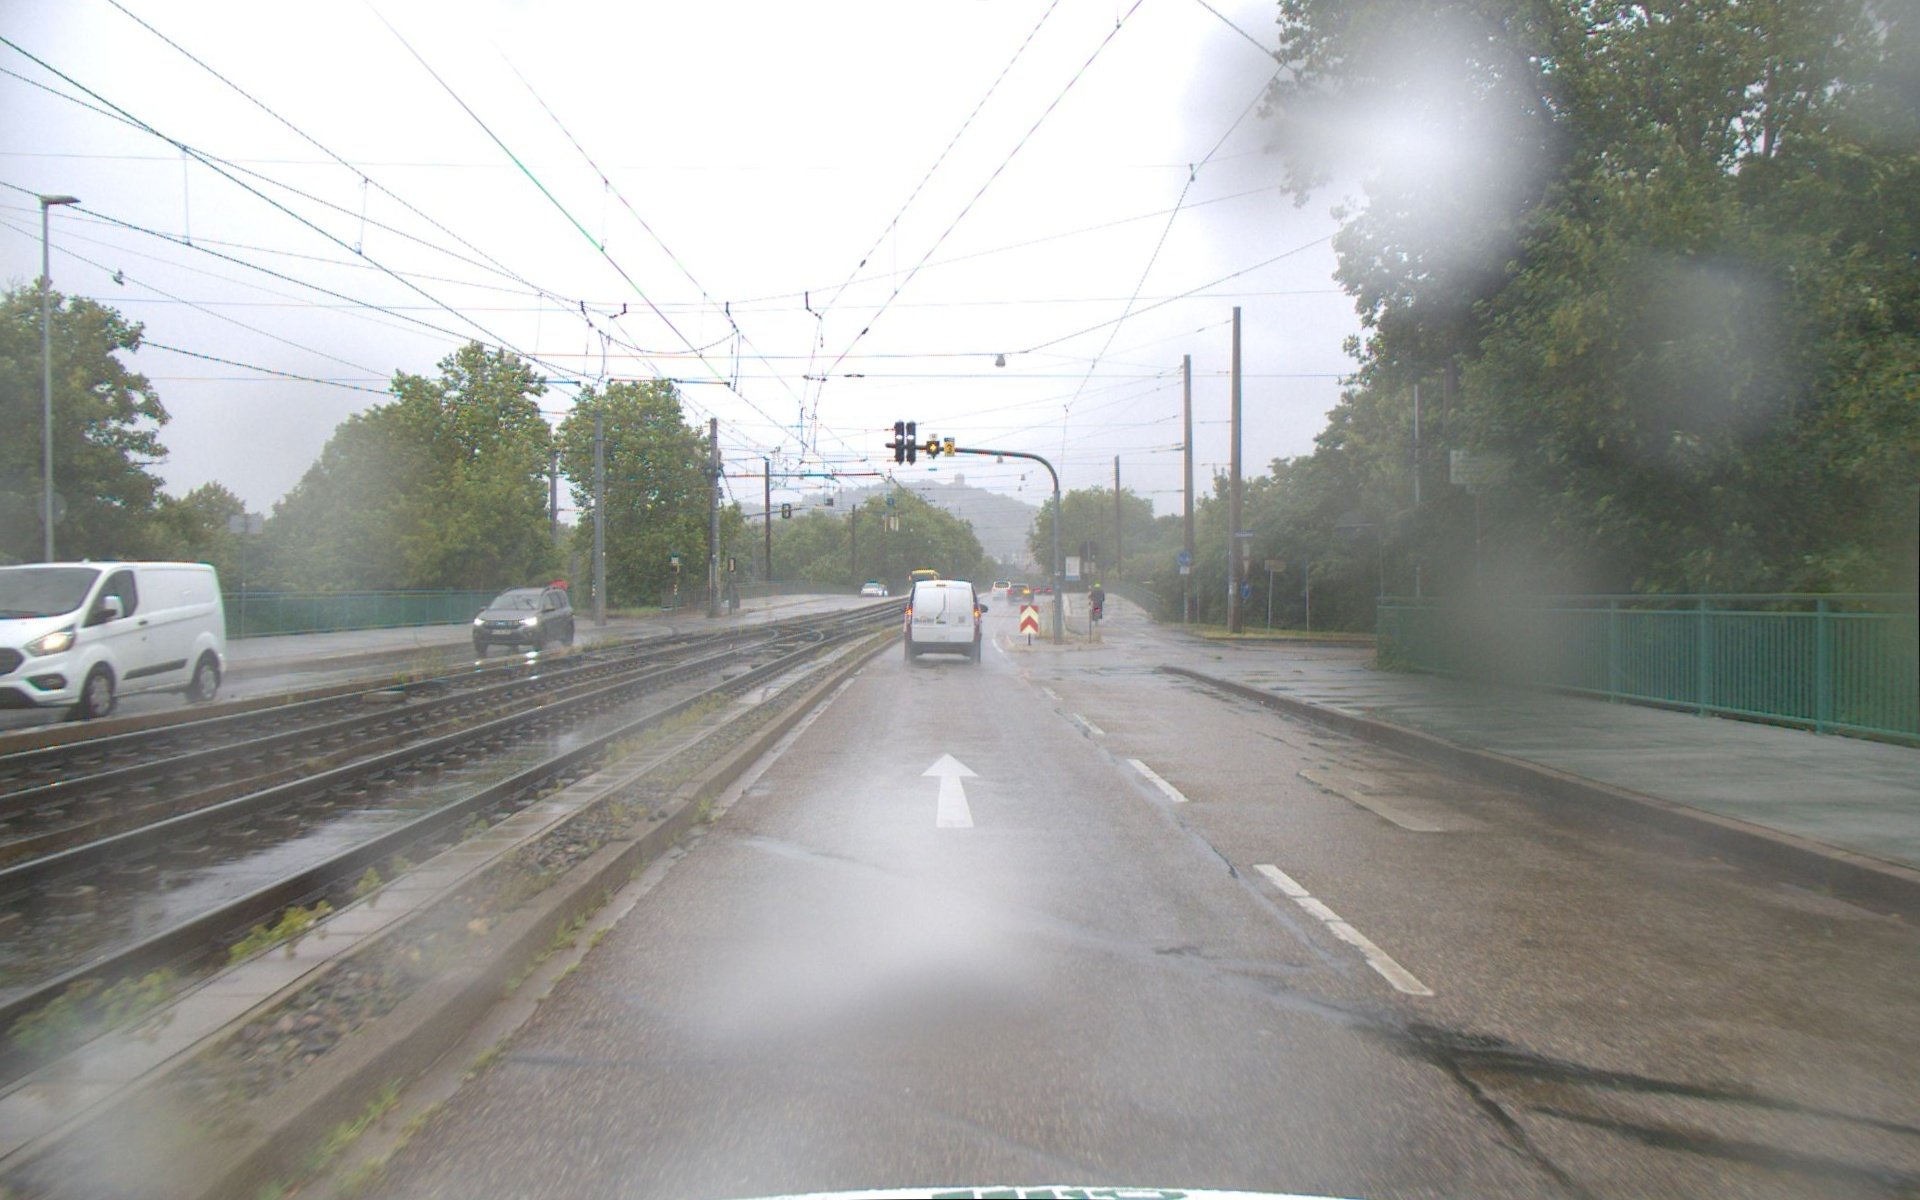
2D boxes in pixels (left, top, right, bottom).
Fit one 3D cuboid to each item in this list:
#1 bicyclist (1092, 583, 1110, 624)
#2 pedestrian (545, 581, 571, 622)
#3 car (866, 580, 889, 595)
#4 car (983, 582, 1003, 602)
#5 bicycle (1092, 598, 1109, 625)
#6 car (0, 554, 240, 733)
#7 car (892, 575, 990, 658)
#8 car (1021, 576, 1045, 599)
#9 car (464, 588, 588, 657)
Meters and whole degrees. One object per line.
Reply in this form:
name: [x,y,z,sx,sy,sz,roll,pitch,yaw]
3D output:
bicyclist: [6.222,0.144,73.077,0.710,1.794,0.949,1,-1,3]
pedestrian: [-18.479,0.051,76.074,0.846,1.850,1.043,1,0,1]
car: [-8.268,-1.264,165.568,1.894,1.252,4.102,-2,2,3]
car: [2.514,-0.613,126.982,1.421,1.525,2.981,1,0,-1]
bicycle: [6.198,0.501,73.066,0.708,1.148,2.169,1,1,3]
car: [-11.556,0.474,21.832,1.953,2.079,5.027,1,0,-1]
car: [-0.379,0.375,37.976,1.952,1.756,4.001,1,0,3]
car: [5.024,-0.852,113.721,1.421,1.525,2.981,1,0,-1]
car: [-11.453,0.545,44.012,1.953,1.677,5.370,1,0,-1]
